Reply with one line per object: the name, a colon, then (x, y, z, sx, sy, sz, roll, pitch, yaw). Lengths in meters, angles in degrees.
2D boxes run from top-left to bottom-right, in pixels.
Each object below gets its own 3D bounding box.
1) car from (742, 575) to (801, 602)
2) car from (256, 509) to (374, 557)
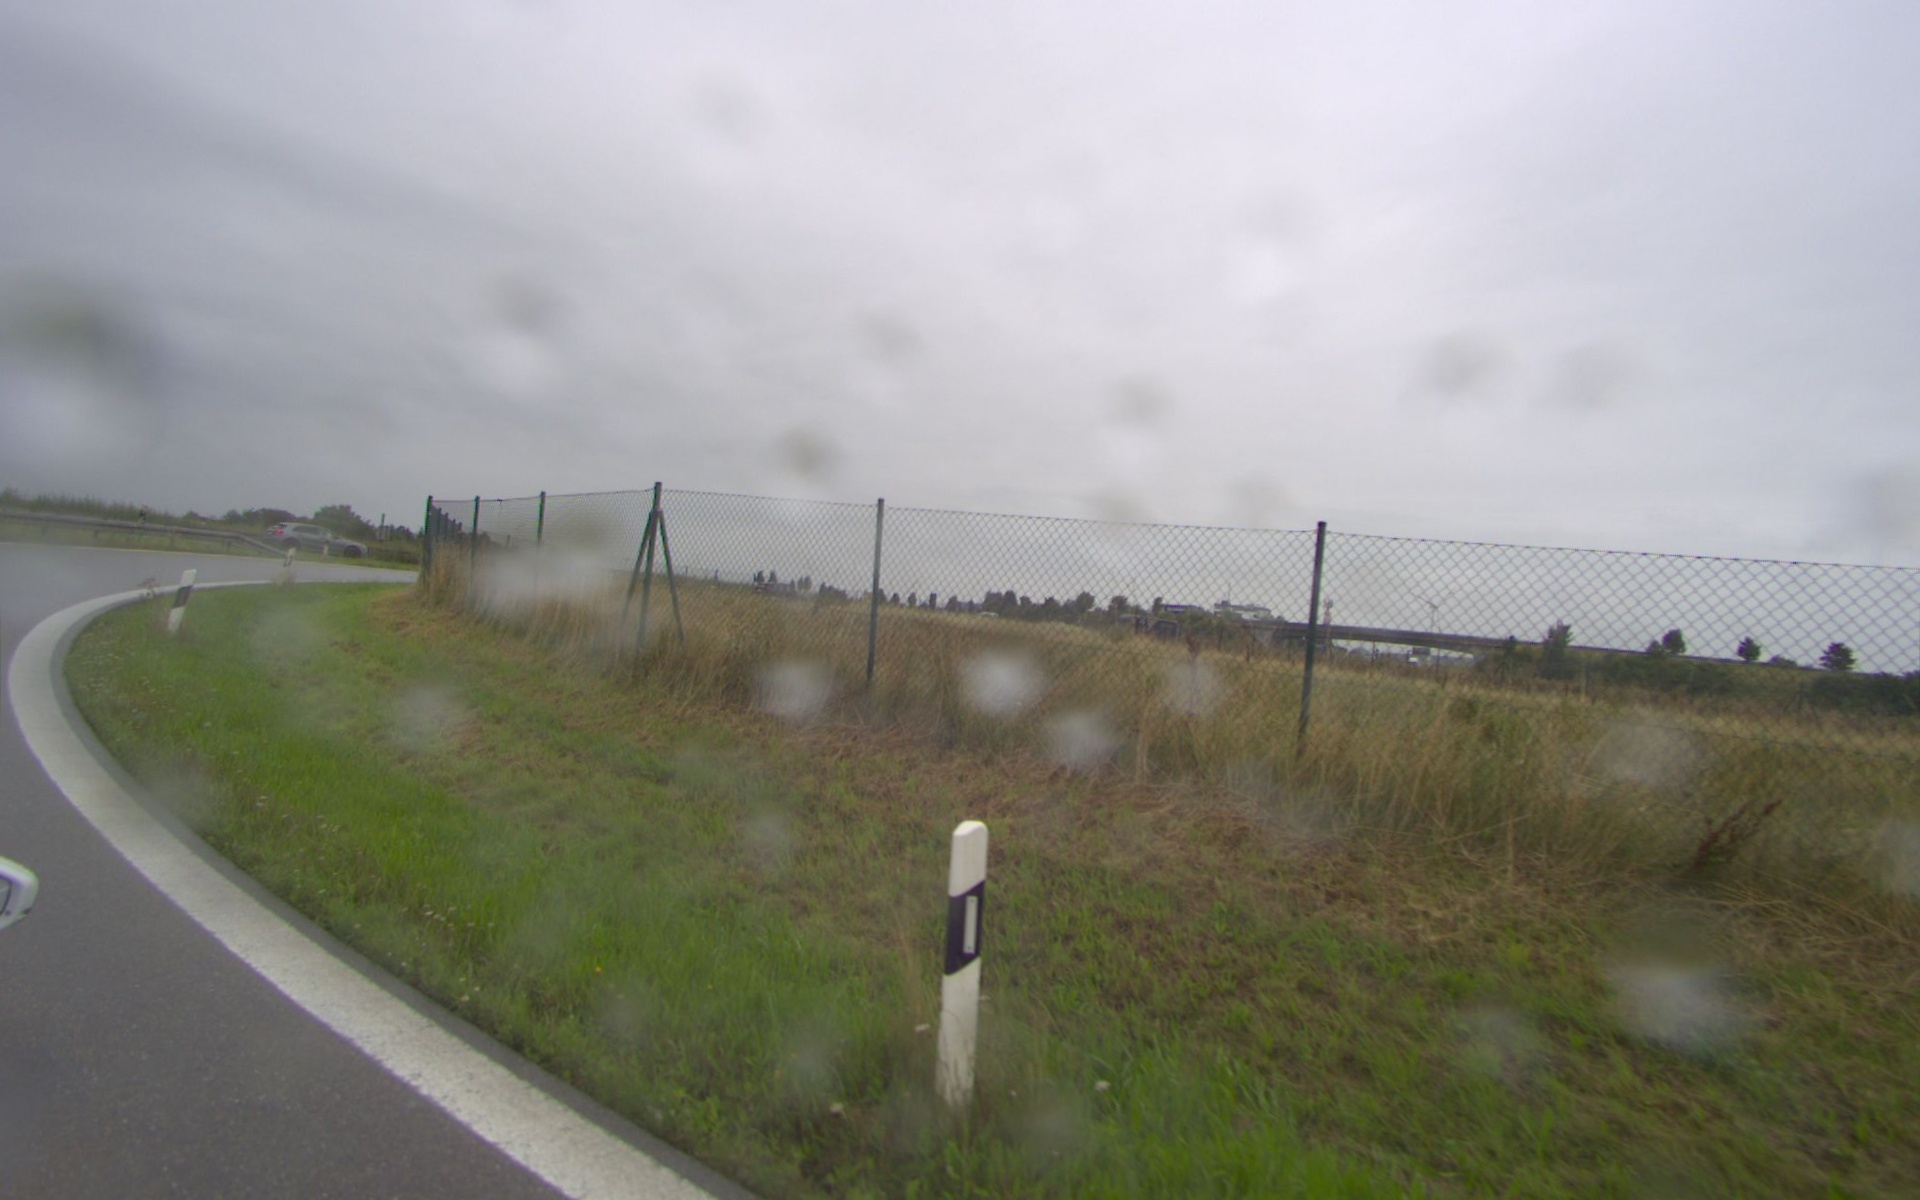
car: (-13.960, -0.824, 74.688, 1.971, 1.719, 3.983, 3, 0, 37)
car: (-31.645, -3.259, 49.459, 2.028, 1.656, 4.335, 7, -1, 37)
